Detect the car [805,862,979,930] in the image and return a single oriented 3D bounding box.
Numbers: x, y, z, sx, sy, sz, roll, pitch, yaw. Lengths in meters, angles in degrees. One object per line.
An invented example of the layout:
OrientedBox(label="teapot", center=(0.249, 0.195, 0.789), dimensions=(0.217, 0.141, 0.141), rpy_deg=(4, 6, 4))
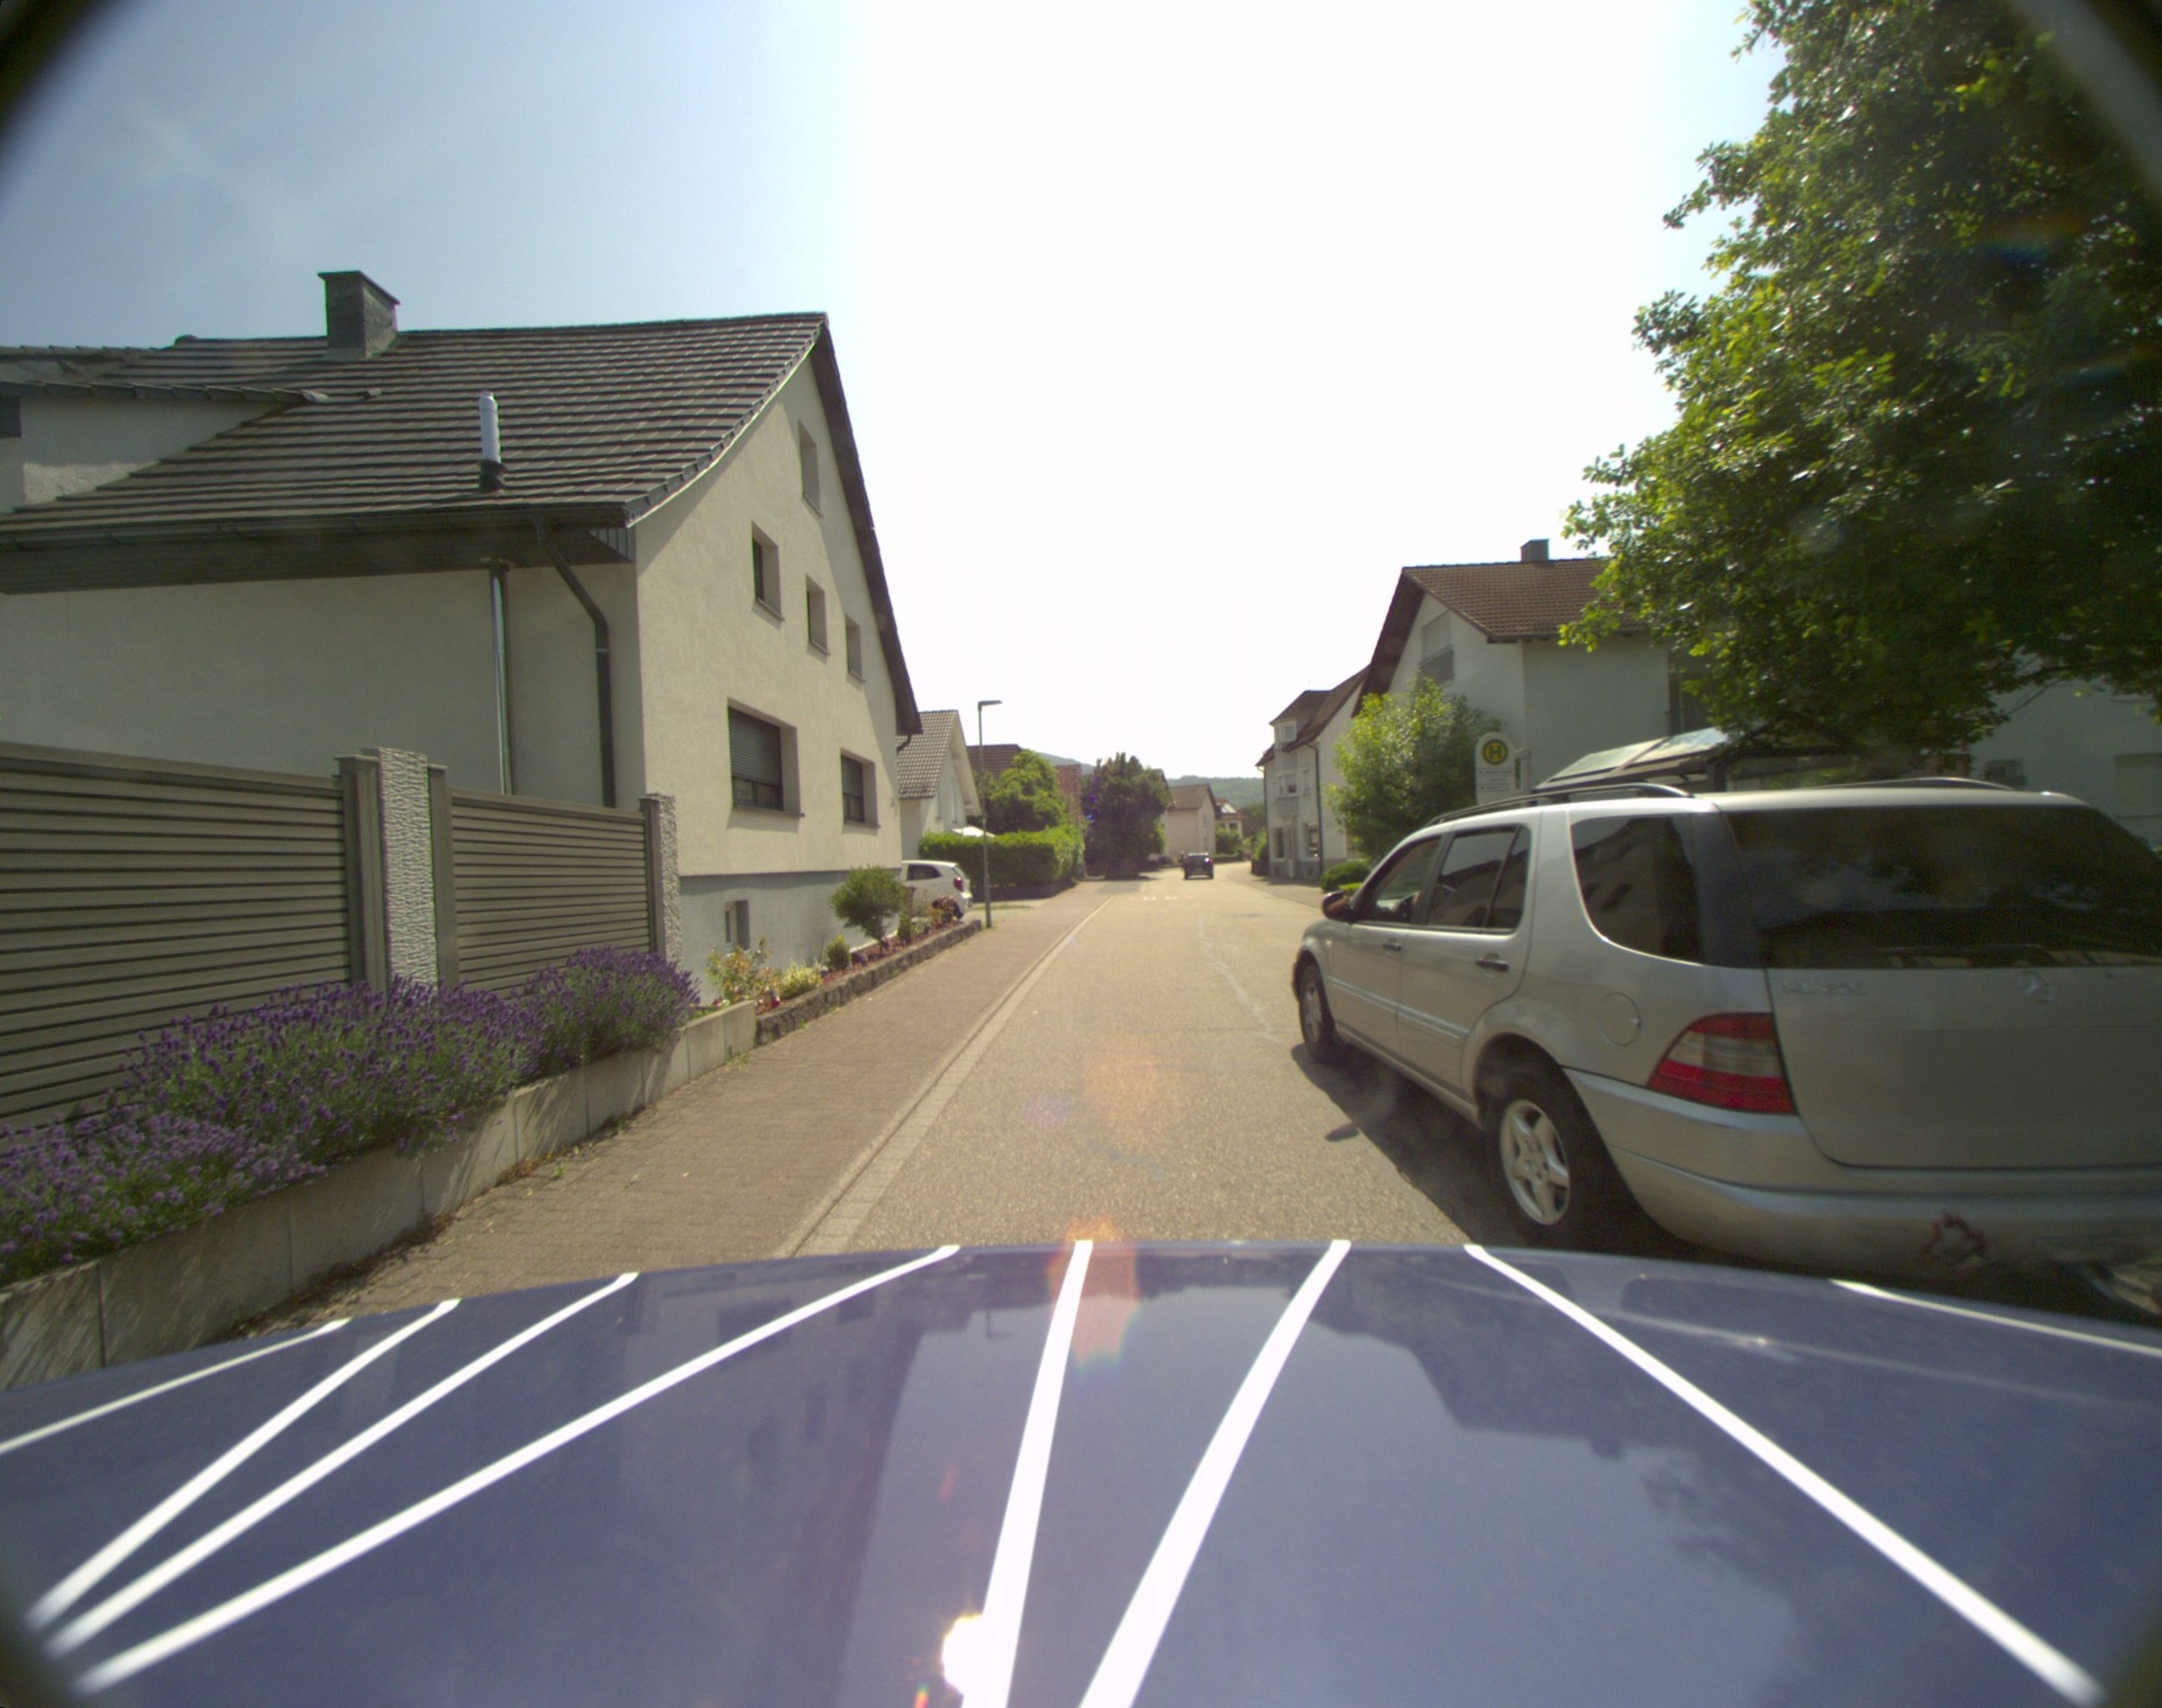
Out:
OrientedBox(label="car", center=(-4.363, 0.957, 17.945), dimensions=(3.667, 1.465, 1.765), rpy_deg=(-1, -1, -1))

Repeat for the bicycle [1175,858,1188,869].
OrientedBox(label="bicycle", center=(8.925, 0.866, 67.528), dimensions=(0.520, 0.898, 1.315), rpy_deg=(-2, 1, 36))

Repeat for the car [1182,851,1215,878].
OrientedBox(label="car", center=(7.277, 0.635, 47.426), dimensions=(1.780, 1.614, 4.107), rpy_deg=(-1, 0, 5))

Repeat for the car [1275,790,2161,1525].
OrientedBox(label="car", center=(2.540, 0.744, 4.001), dimensions=(1.890, 1.756, 4.331), rpy_deg=(-1, 0, 0))

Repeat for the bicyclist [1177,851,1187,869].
OrientedBox(label="bicyclist", center=(8.969, 0.537, 67.602), dimensions=(0.546, 1.481, 0.798), rpy_deg=(-2, 1, 36))
